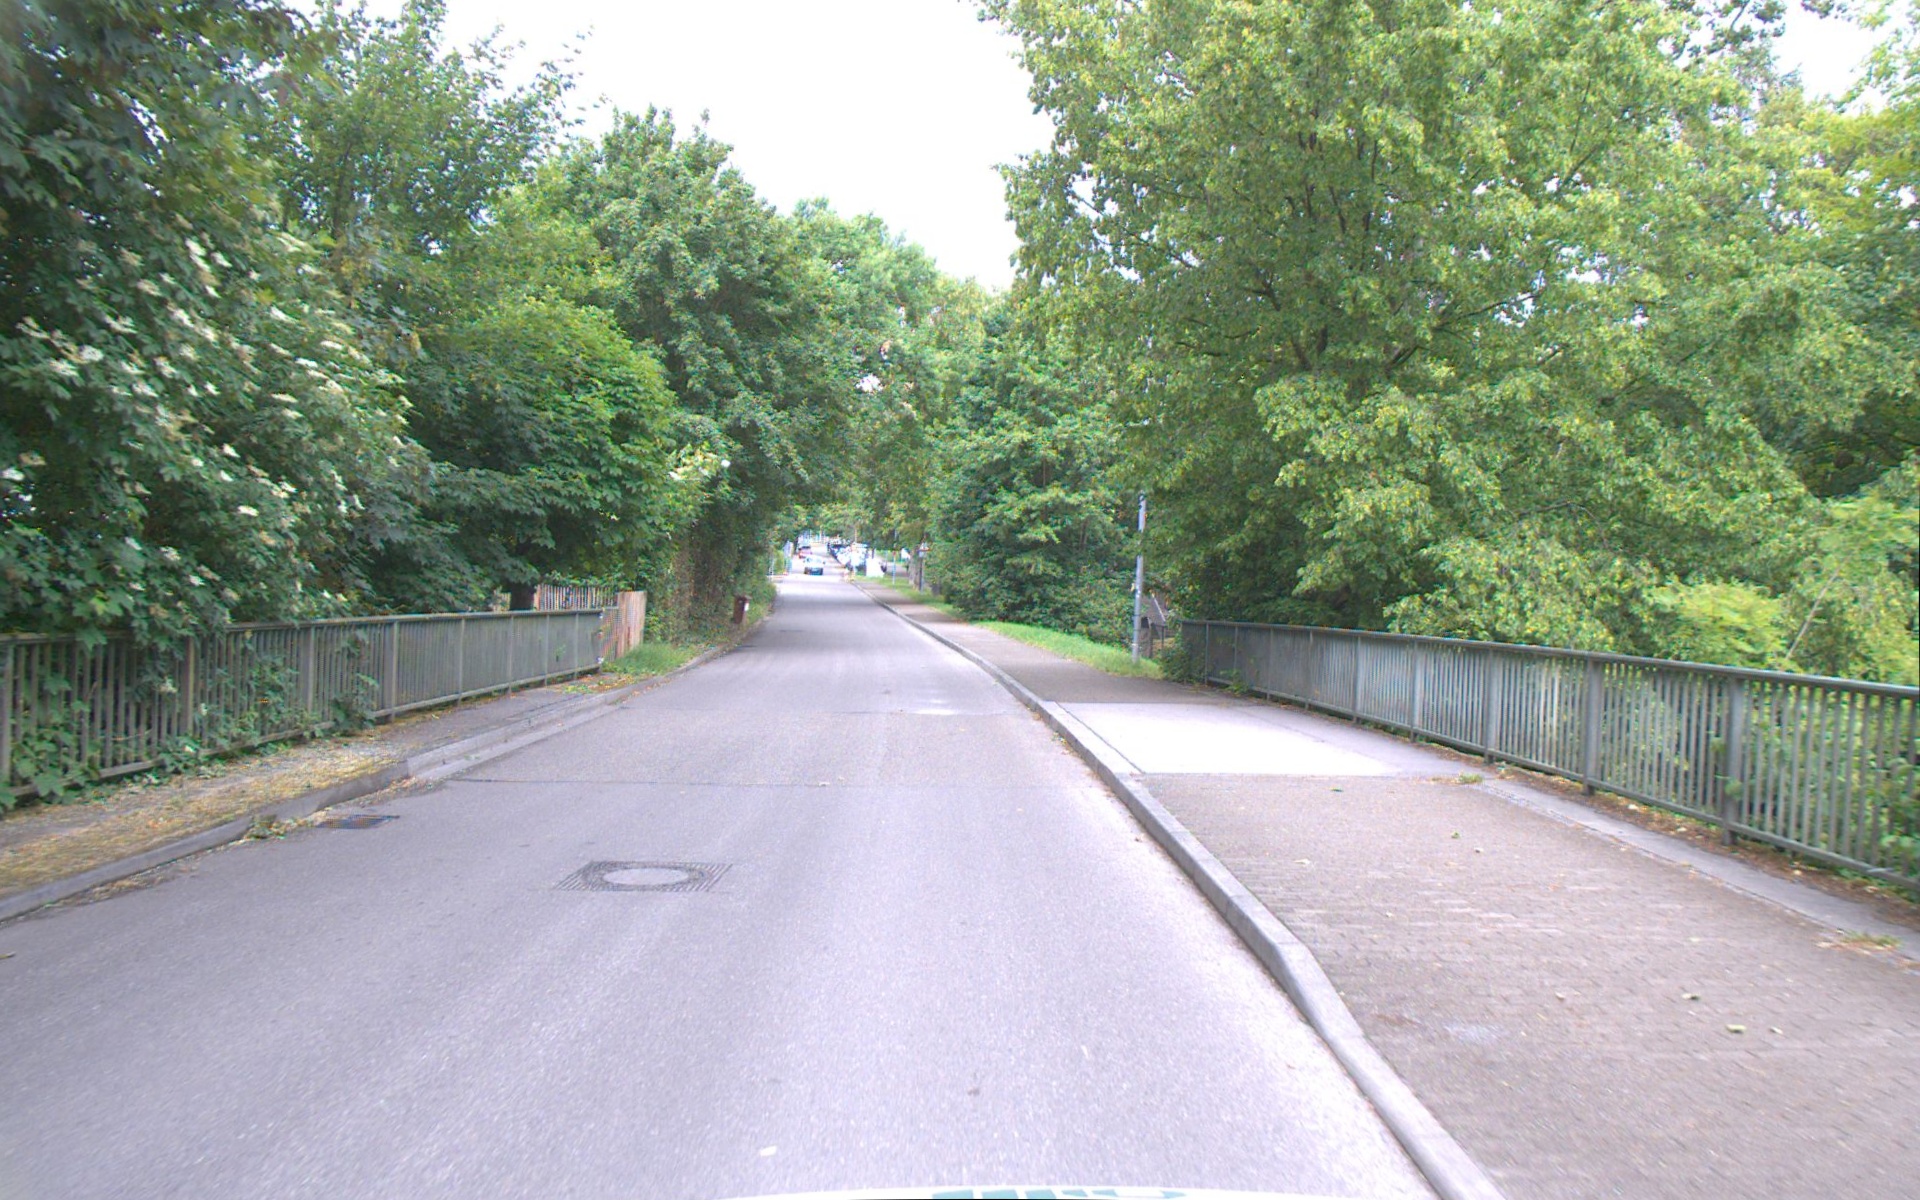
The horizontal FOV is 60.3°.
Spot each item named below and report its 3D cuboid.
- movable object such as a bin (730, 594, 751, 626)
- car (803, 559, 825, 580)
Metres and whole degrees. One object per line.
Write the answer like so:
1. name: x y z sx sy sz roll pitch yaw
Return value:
1. movable object such as a bin: -6.811 0.299 51.313 0.578 0.974 0.469 2 -1 -4
2. car: -13.975 -2.912 158.651 1.954 1.803 3.997 2 0 -4
